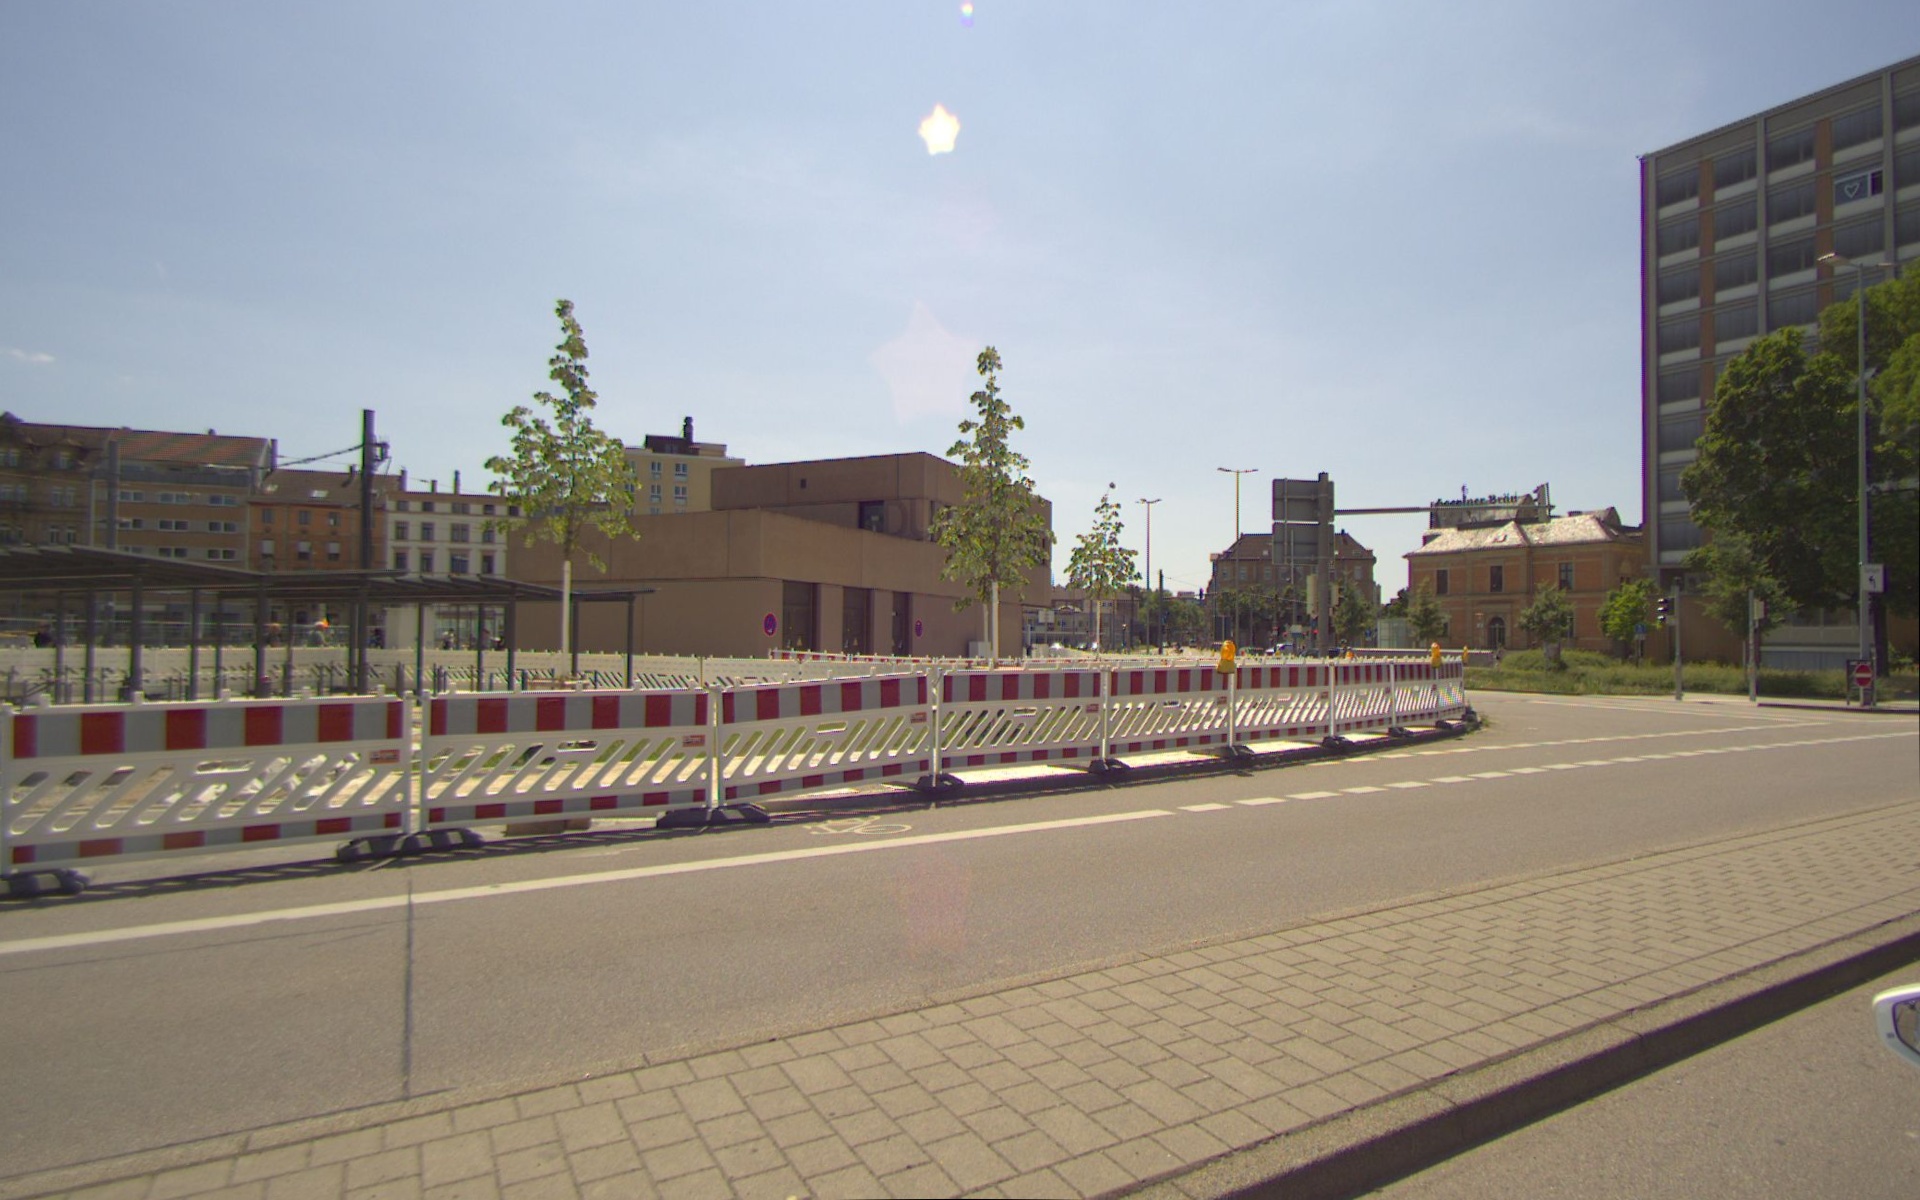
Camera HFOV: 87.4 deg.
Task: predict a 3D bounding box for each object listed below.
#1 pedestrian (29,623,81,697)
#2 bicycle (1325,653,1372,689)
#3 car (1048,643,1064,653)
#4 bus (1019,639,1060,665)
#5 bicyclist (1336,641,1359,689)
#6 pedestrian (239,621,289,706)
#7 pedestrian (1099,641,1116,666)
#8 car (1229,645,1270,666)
[{"bbox_3d":[-25.532,1.676,28.353,0.684,2.040,0.877,2,0,29],"label":"pedestrian"},{"bbox_3d":[13.192,2.400,34.155,0.515,1.196,1.894,1,-3,-12],"label":"bicycle"},{"bbox_3d":[13.546,6.740,141.189,1.592,1.408,4.127,0,-3,16],"label":"car"},{"bbox_3d":[4.835,3.164,61.903,1.225,1.266,5.812,2,0,-8],"label":"bus"},{"bbox_3d":[13.181,2.201,34.174,0.522,1.600,0.497,2,-3,-13],"label":"bicyclist"},{"bbox_3d":[-17.107,1.546,24.709,0.747,2.040,0.646,2,0,19],"label":"pedestrian"},{"bbox_3d":[12.405,4.493,84.330,1.161,1.959,0.901,2,0,-8],"label":"pedestrian"},{"bbox_3d":[22.164,4.237,77.014,1.689,1.577,4.587,1,-3,-2],"label":"car"}]
